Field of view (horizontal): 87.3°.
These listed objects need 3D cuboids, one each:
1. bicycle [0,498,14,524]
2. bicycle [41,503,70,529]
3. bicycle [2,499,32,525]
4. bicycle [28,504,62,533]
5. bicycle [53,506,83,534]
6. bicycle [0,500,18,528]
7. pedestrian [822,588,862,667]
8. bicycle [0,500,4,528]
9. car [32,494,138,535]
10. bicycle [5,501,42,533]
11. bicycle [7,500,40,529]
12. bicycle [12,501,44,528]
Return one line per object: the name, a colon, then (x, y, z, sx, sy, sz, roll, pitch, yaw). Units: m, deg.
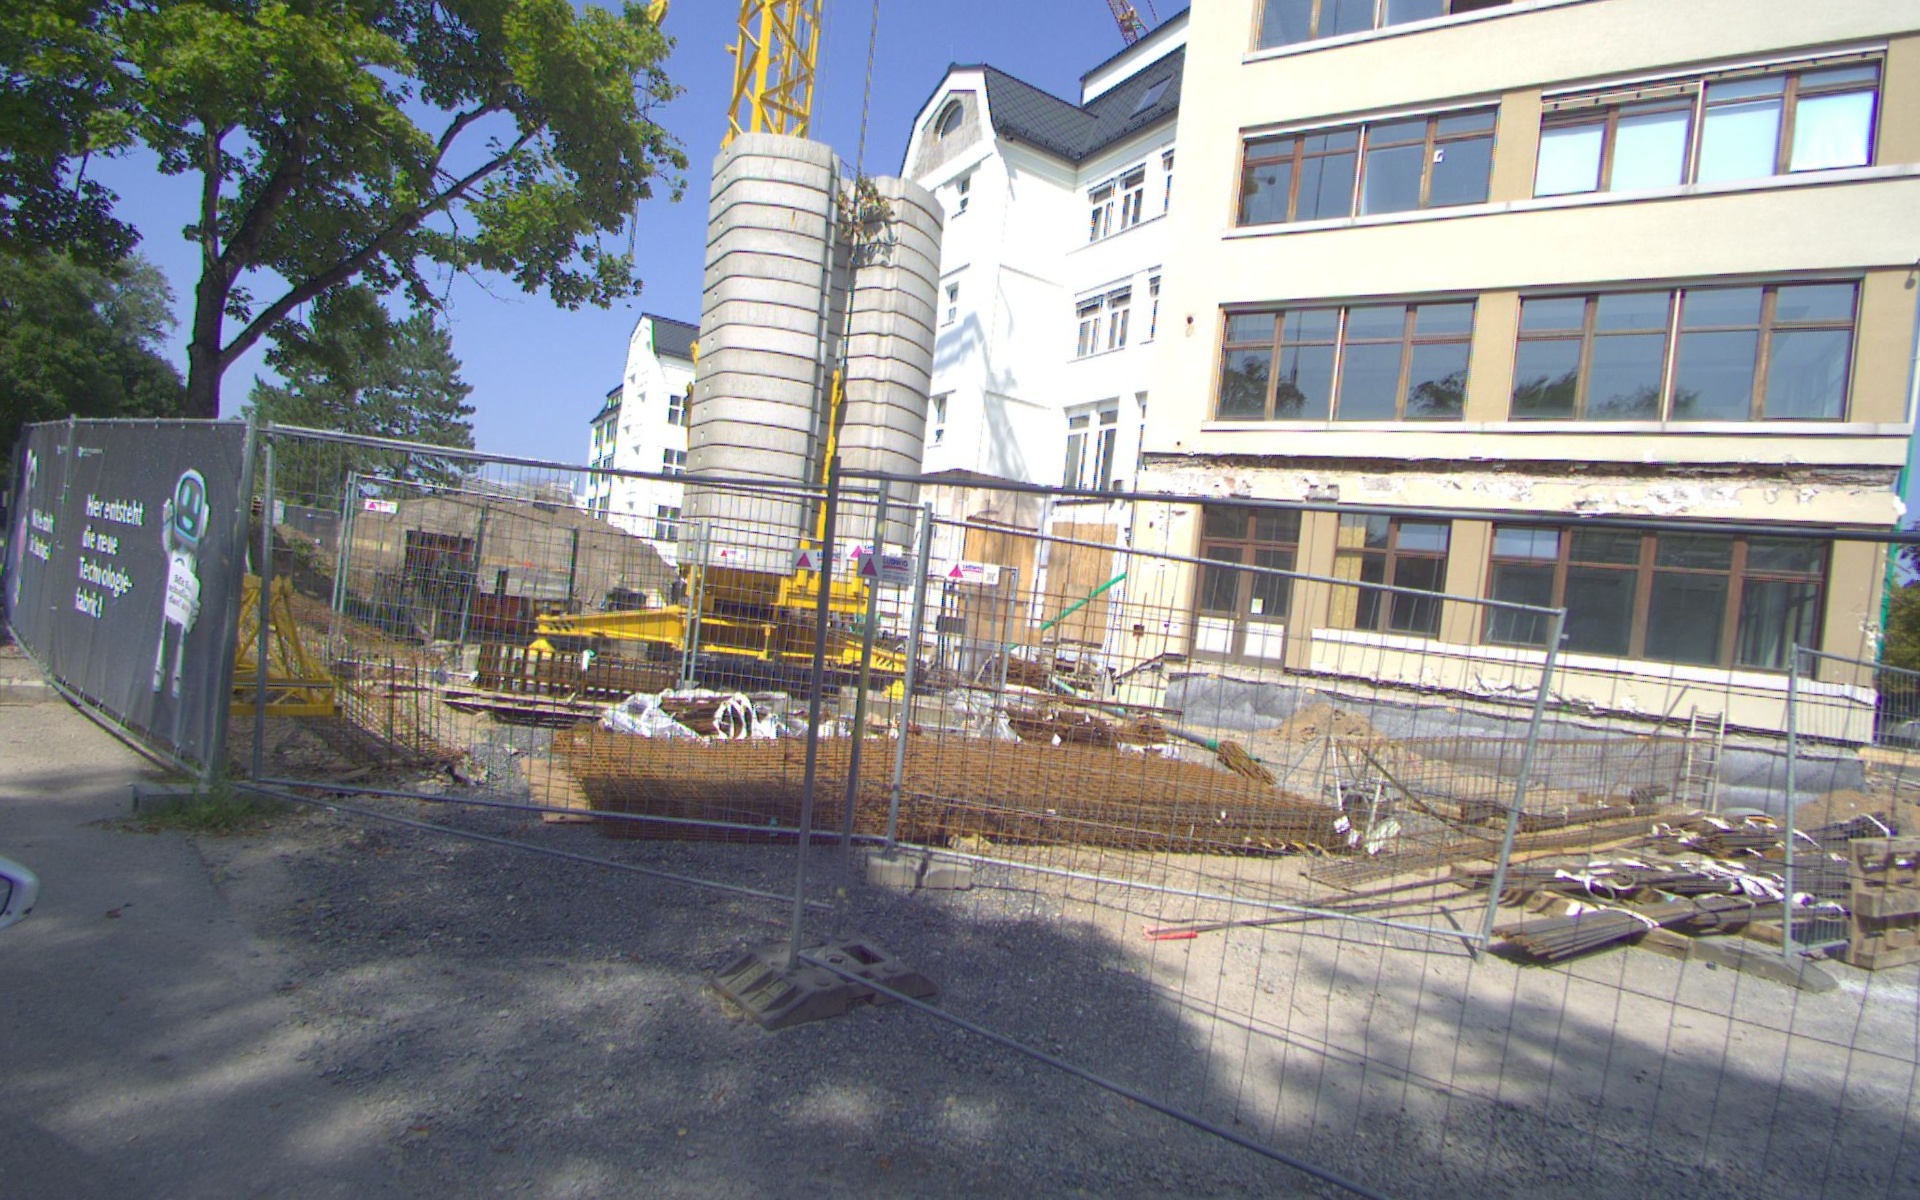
bicycle: (-43.804, -4.070, 45.785, 0.494, 1.121, 1.788, 7, 0, -27)
bicycle: (-44.117, -4.077, 49.089, 0.494, 1.121, 1.788, 7, 0, -27)
bicycle: (-45.012, -4.187, 48.040, 0.494, 1.121, 1.788, 7, 0, -27)
bicycle: (-38.356, -3.398, 42.176, 0.494, 1.121, 1.788, 7, 0, -27)
bicycle: (-40.444, -3.614, 45.632, 0.494, 1.121, 1.788, 7, 0, -27)
bicycle: (-39.892, -3.607, 41.806, 0.494, 1.121, 1.788, 7, 0, -27)
pedestrian: (-2.424, 0.562, 20.673, 0.517, 1.547, 0.492, 6, 1, -24)
bicycle: (-38.425, -3.461, 39.642, 0.494, 1.121, 1.788, 7, 0, -27)
car: (-46.841, -4.531, 53.941, 3.963, 1.528, 1.784, 8, -1, -34)
bicycle: (-37.099, -3.276, 39.857, 0.494, 1.121, 1.788, 7, 0, -27)
bicycle: (-41.319, -3.758, 44.406, 0.494, 1.121, 1.788, 7, 0, -27)
bicycle: (-42.635, -3.897, 46.026, 0.494, 1.121, 1.788, 7, 0, -27)
